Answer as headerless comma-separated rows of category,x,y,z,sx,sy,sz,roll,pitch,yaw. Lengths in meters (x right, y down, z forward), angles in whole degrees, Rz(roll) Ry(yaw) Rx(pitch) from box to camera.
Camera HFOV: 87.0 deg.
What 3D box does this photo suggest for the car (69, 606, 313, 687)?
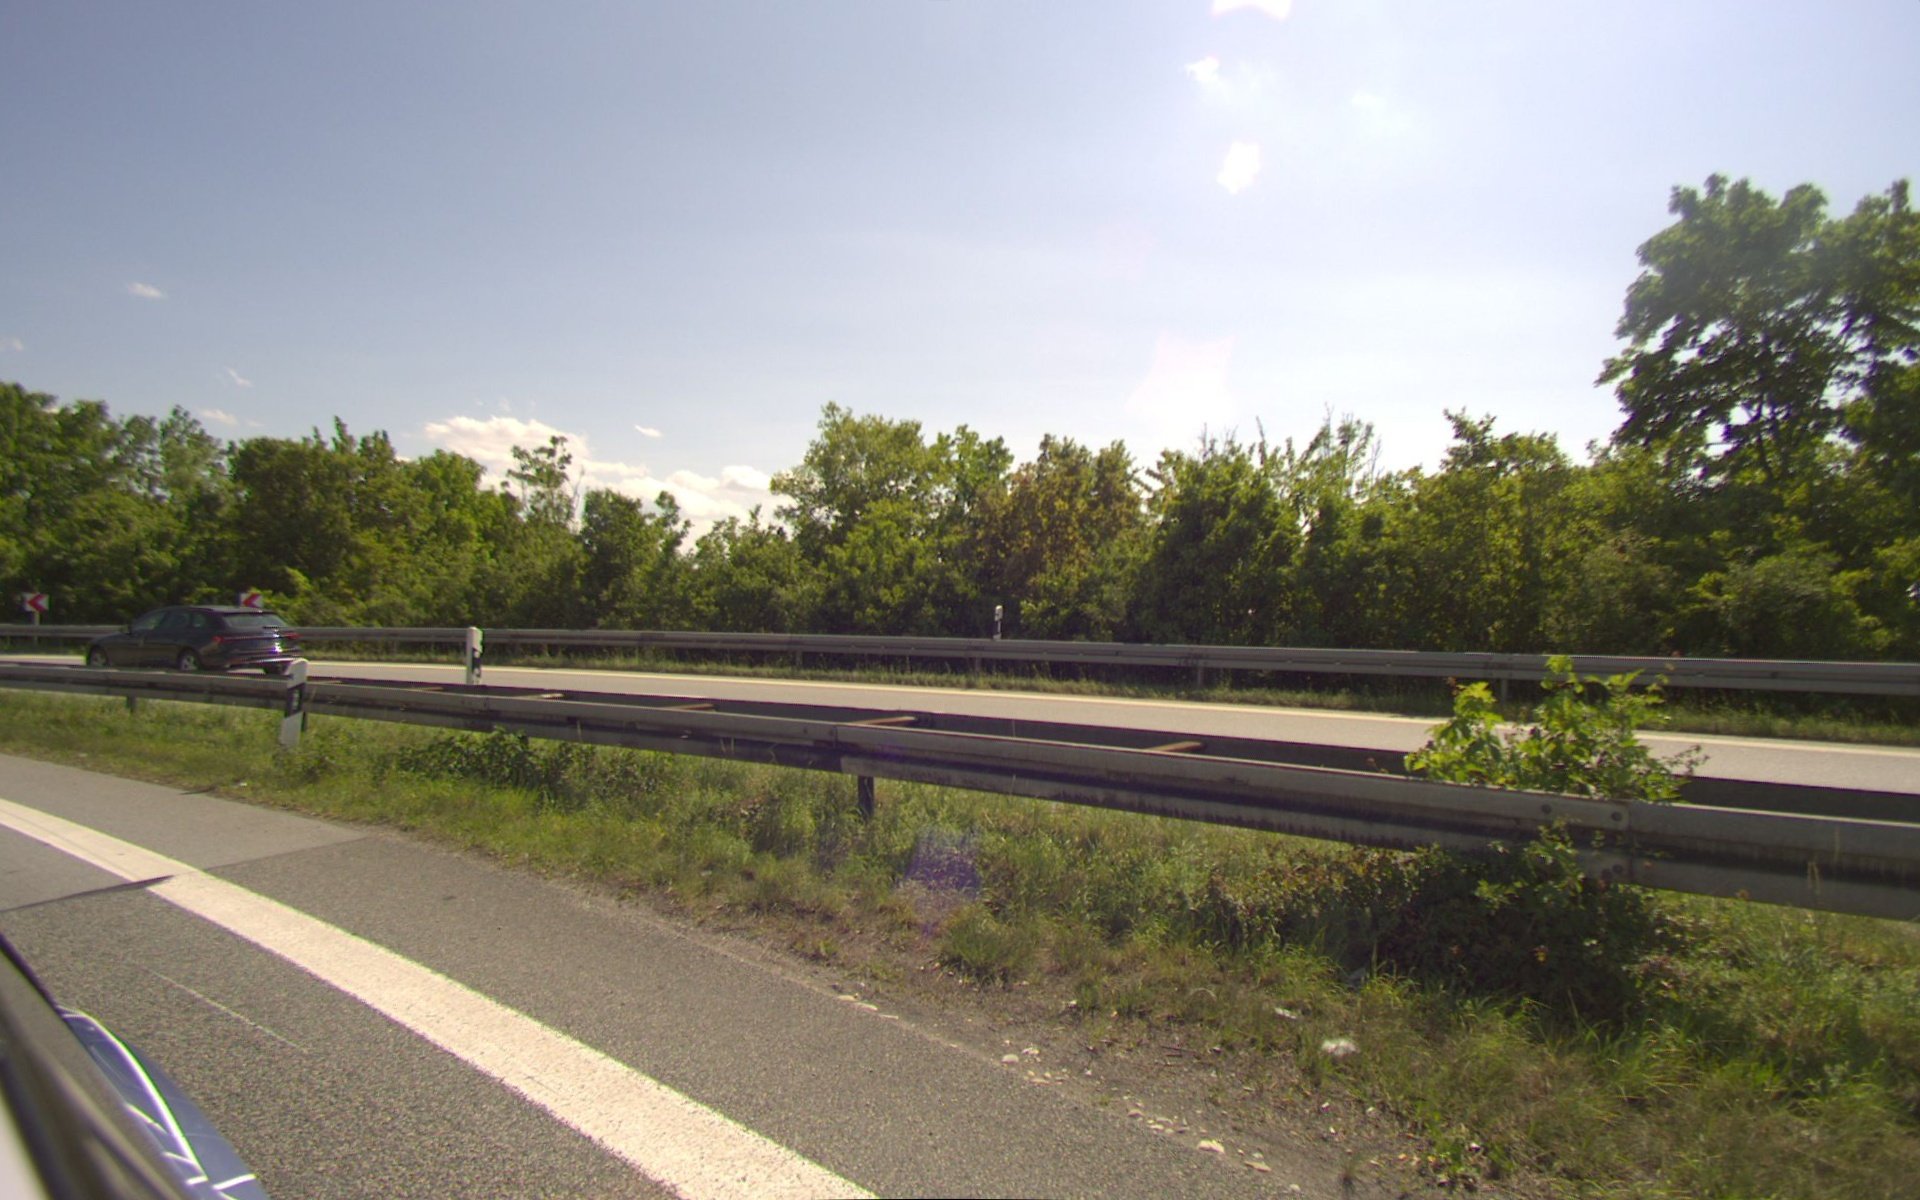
car,-15.365,0.879,20.213,4.671,1.459,1.786,-1,0,22
